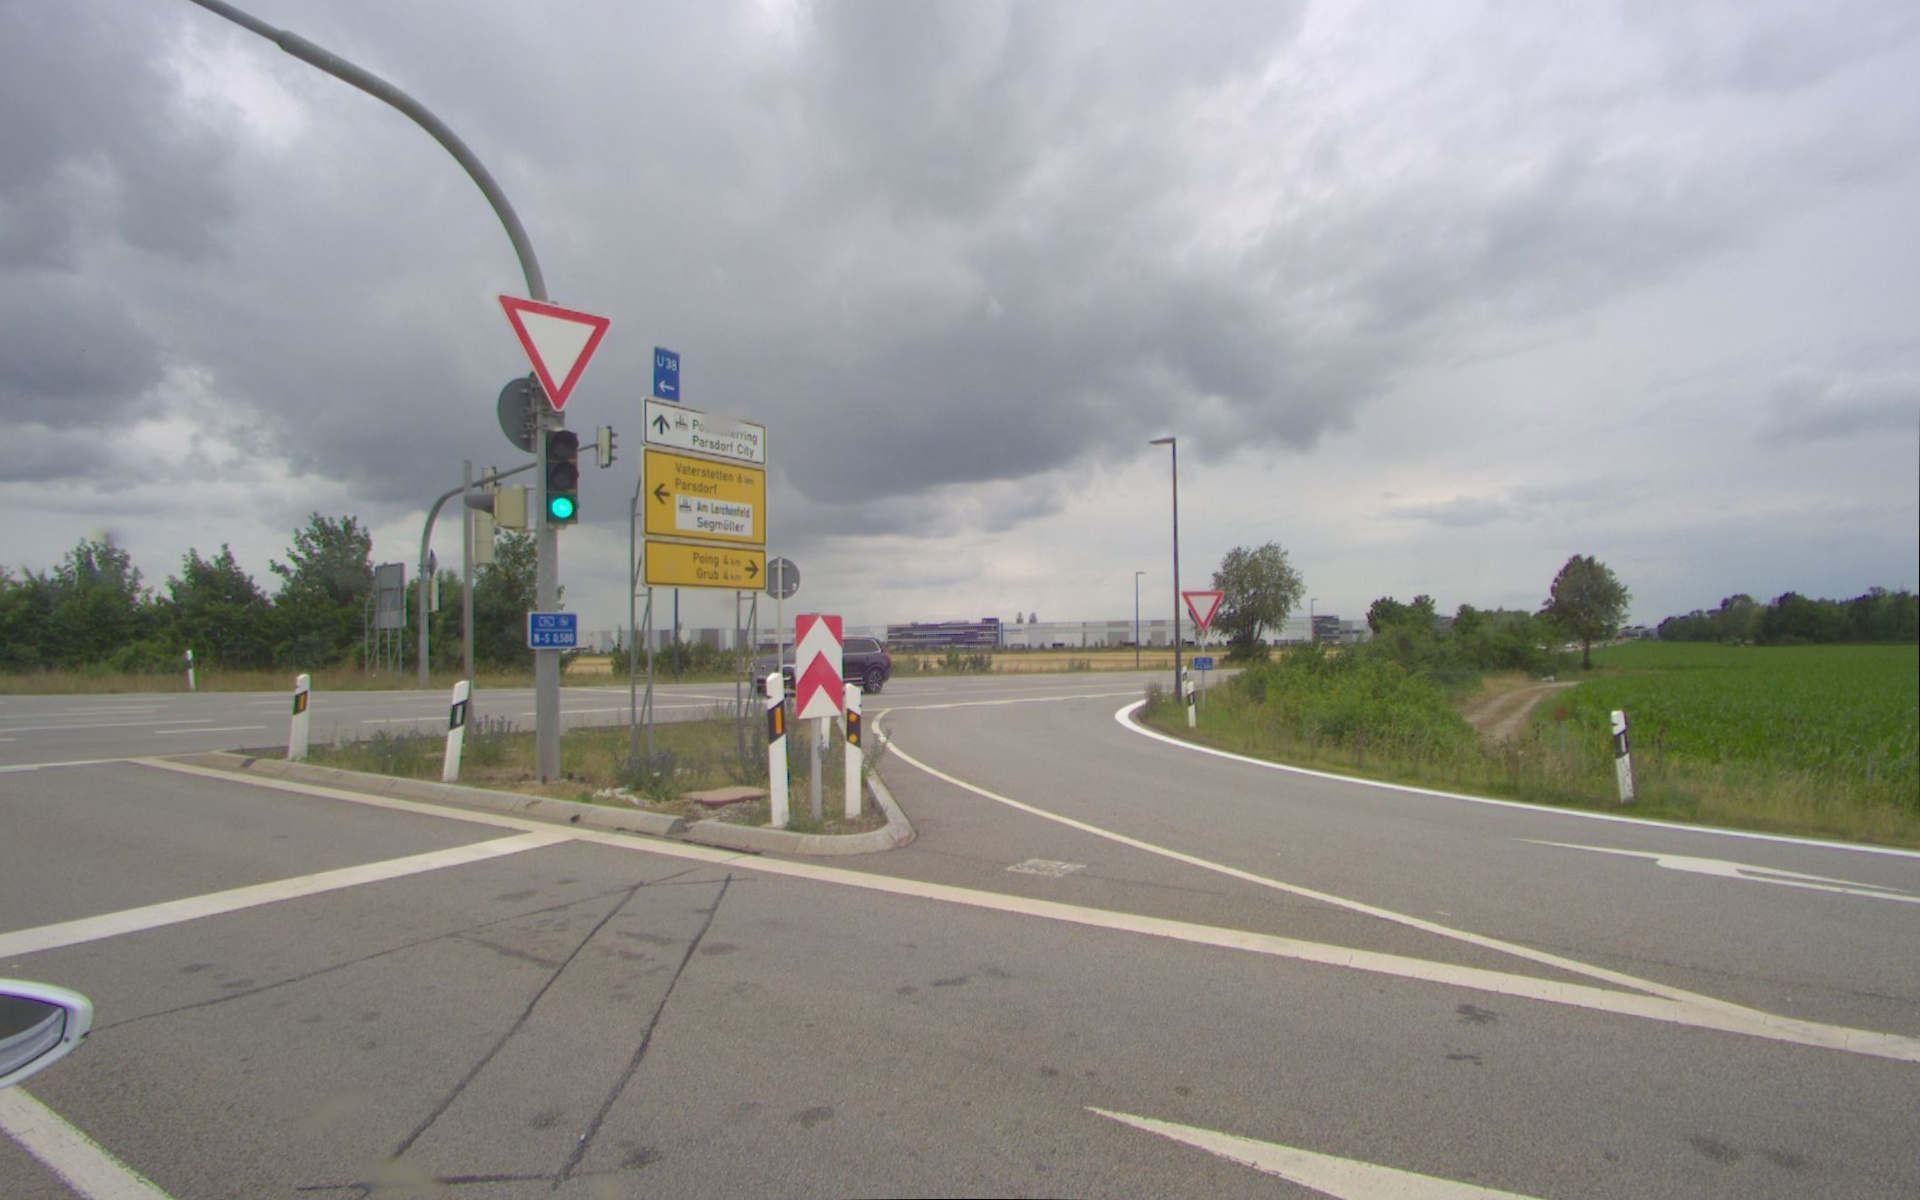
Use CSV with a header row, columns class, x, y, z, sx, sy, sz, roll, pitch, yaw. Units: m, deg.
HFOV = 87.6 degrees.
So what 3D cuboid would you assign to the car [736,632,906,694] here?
class,x,y,z,sx,sy,sz,roll,pitch,yaw
car,-4.022,1.839,29.708,1.977,1.705,4.961,-2,-3,41
